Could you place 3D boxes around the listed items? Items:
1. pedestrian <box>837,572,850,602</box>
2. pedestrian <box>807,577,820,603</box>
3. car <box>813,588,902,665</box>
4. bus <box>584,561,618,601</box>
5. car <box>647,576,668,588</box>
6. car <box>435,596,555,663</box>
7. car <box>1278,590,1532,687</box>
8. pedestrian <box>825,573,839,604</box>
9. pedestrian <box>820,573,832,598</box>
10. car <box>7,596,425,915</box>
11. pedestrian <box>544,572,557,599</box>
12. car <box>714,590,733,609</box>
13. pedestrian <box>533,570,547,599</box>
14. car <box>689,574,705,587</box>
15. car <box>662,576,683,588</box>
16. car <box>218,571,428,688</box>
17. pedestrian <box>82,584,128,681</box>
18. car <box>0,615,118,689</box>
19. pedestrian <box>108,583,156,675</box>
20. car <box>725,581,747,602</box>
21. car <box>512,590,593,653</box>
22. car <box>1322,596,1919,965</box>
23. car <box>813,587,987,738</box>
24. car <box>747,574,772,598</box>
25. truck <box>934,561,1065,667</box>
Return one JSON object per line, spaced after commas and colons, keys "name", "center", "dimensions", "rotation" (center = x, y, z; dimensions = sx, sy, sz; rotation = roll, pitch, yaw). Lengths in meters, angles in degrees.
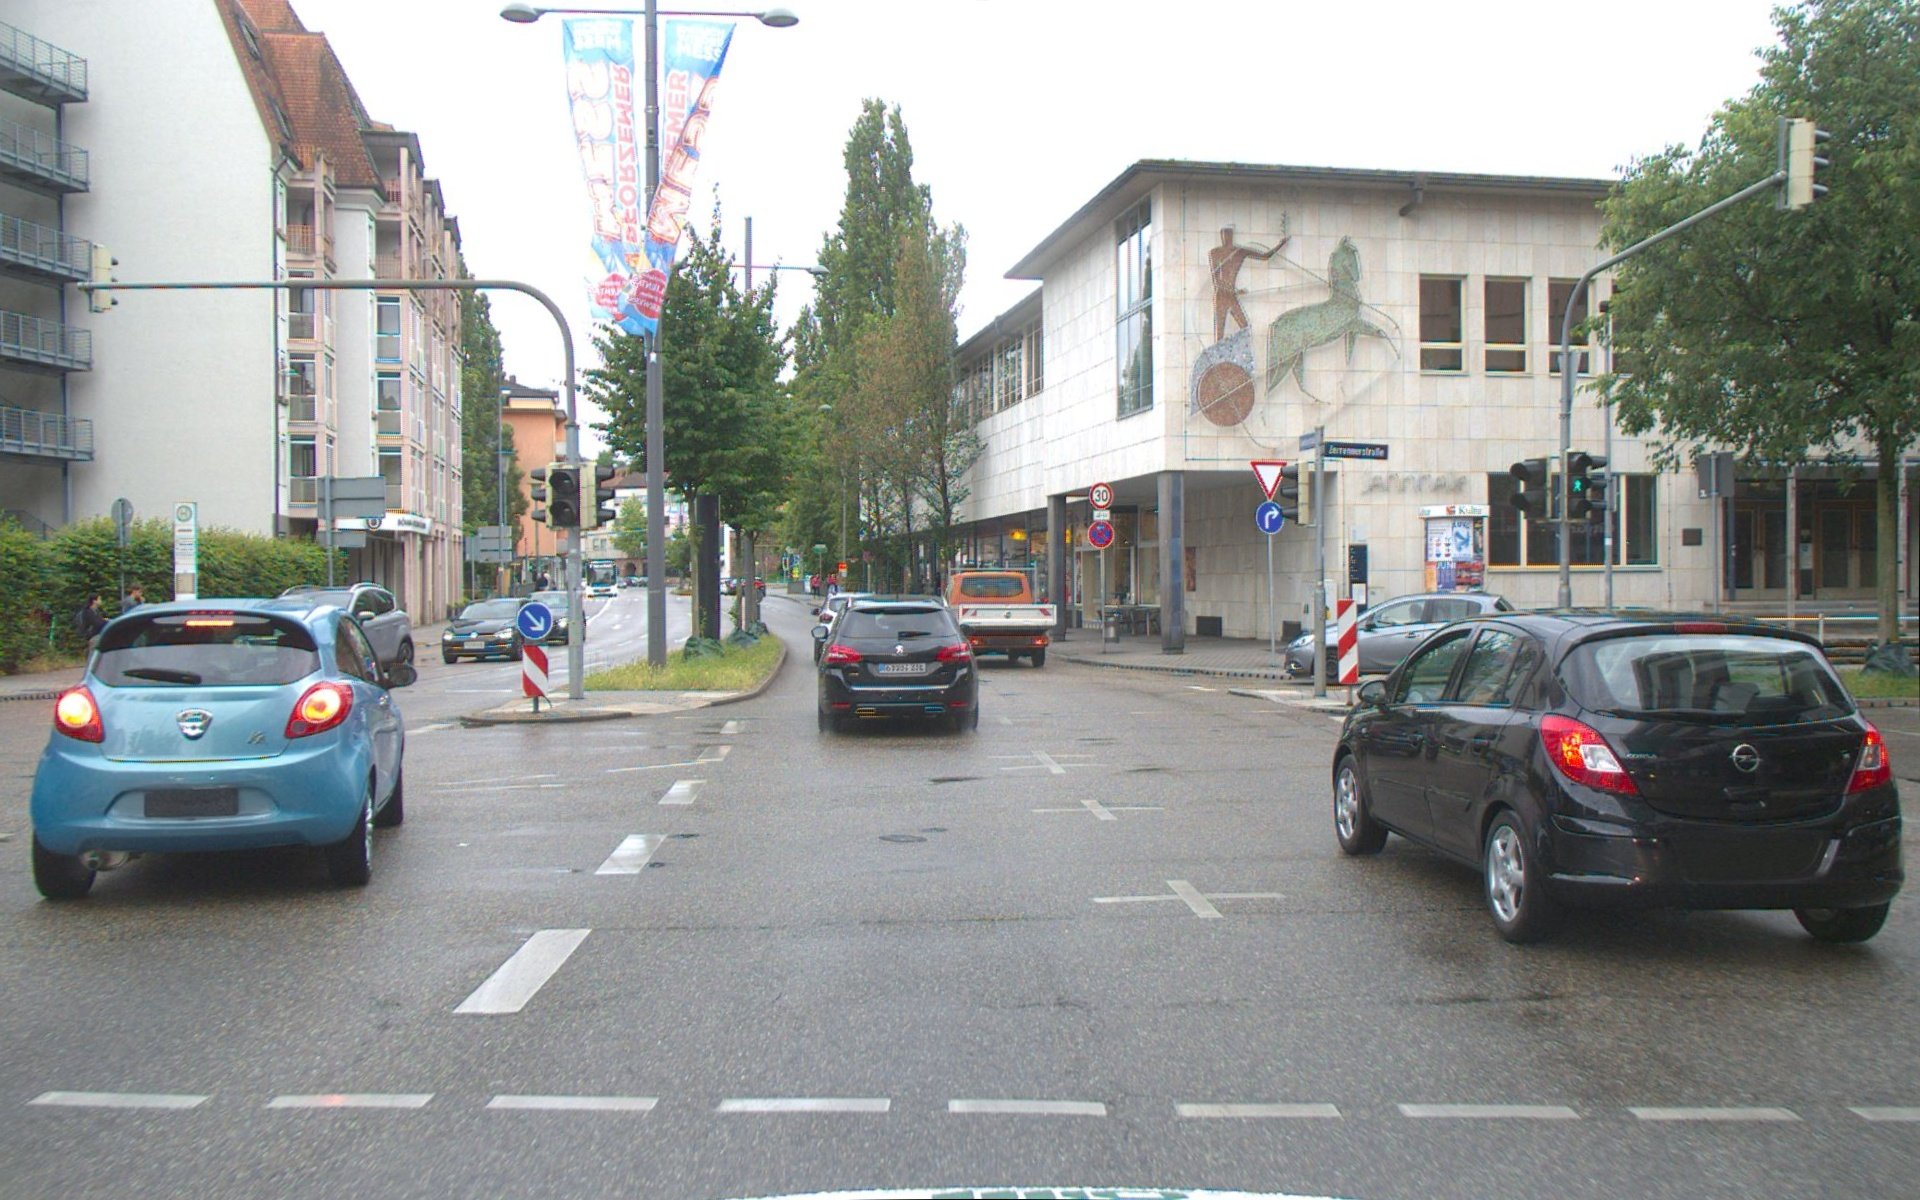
{"name": "pedestrian", "center": [-7.054, -0.785, 100.100], "dimensions": [0.686, 1.833, 0.605], "rotation": [-2, 1, -11]}
{"name": "pedestrian", "center": [-9.439, -0.632, 106.314], "dimensions": [0.704, 1.648, 0.767], "rotation": [-2, 1, -11]}
{"name": "car", "center": [-2.215, 0.514, 34.927], "dimensions": [1.760, 1.509, 3.996], "rotation": [-1, 0, -5]}
{"name": "bus", "center": [-30.859, -1.718, 142.092], "dimensions": [2.696, 3.129, 12.199], "rotation": [0, 2, -13]}
{"name": "car", "center": [-42.902, -2.546, 234.496], "dimensions": [1.631, 1.592, 3.555], "rotation": [3, -3, -35]}
{"name": "car", "center": [-11.032, 0.688, 39.533], "dimensions": [1.722, 1.445, 4.096], "rotation": [-2, 0, -1]}
{"name": "car", "center": [7.388, 0.609, 27.363], "dimensions": [3.904, 1.503, 2.000], "rotation": [0, -1, 20]}
{"name": "pedestrian", "center": [-7.737, -0.703, 99.943], "dimensions": [0.642, 1.798, 0.920], "rotation": [-2, 1, -11]}
{"name": "pedestrian", "center": [-8.631, -0.943, 106.473], "dimensions": [0.713, 1.617, 0.605], "rotation": [-2, 1, -11]}
{"name": "car", "center": [-4.153, 0.744, 9.803], "dimensions": [1.667, 1.500, 3.675], "rotation": [0, 0, -15]}
{"name": "pedestrian", "center": [-28.410, -1.010, 114.798], "dimensions": [0.782, 1.825, 0.811], "rotation": [0, 0, -9]}
{"name": "car", "center": [-22.801, -0.055, 159.237], "dimensions": [1.615, 1.592, 3.590], "rotation": [2, -2, -11]}
{"name": "pedestrian", "center": [-26.448, -0.964, 104.154], "dimensions": [0.685, 1.825, 0.957], "rotation": [0, 0, -8]}
{"name": "car", "center": [-36.301, -2.698, 228.156], "dimensions": [1.960, 1.713, 3.986], "rotation": [-1, 1, -14]}
{"name": "car", "center": [-41.482, -2.586, 238.595], "dimensions": [1.631, 1.592, 3.555], "rotation": [3, -3, -35]}
{"name": "car", "center": [-10.491, 0.471, 27.599], "dimensions": [1.790, 1.766, 4.310], "rotation": [-1, -1, 0]}
{"name": "pedestrian", "center": [-16.071, 0.620, 31.108], "dimensions": [0.516, 1.796, 0.630], "rotation": [0, -3, -3]}
{"name": "car", "center": [-20.772, 1.144, 37.647], "dimensions": [1.564, 1.537, 3.597], "rotation": [-1, 0, -5]}
{"name": "pedestrian", "center": [-16.282, 0.579, 32.550], "dimensions": [0.629, 1.796, 0.592], "rotation": [0, -3, -3]}
{"name": "car", "center": [-18.915, -0.700, 139.668], "dimensions": [1.615, 1.592, 3.590], "rotation": [2, -2, -11]}
{"name": "car", "center": [-12.300, 0.617, 50.106], "dimensions": [1.793, 1.766, 4.252], "rotation": [-2, 0, -7]}
{"name": "car", "center": [3.217, 0.734, 8.613], "dimensions": [1.674, 1.482, 3.740], "rotation": [1, 0, -3]}
{"name": "car", "center": [-0.655, 0.628, 19.023], "dimensions": [1.758, 1.509, 3.999], "rotation": [1, 1, -1]}
{"name": "car", "center": [-14.970, -1.003, 123.330], "dimensions": [1.615, 1.592, 3.590], "rotation": [2, -2, -11]}
{"name": "truck", "center": [0.744, 0.289, 34.885], "dimensions": [2.081, 2.061, 4.708], "rotation": [1, -1, -7]}
